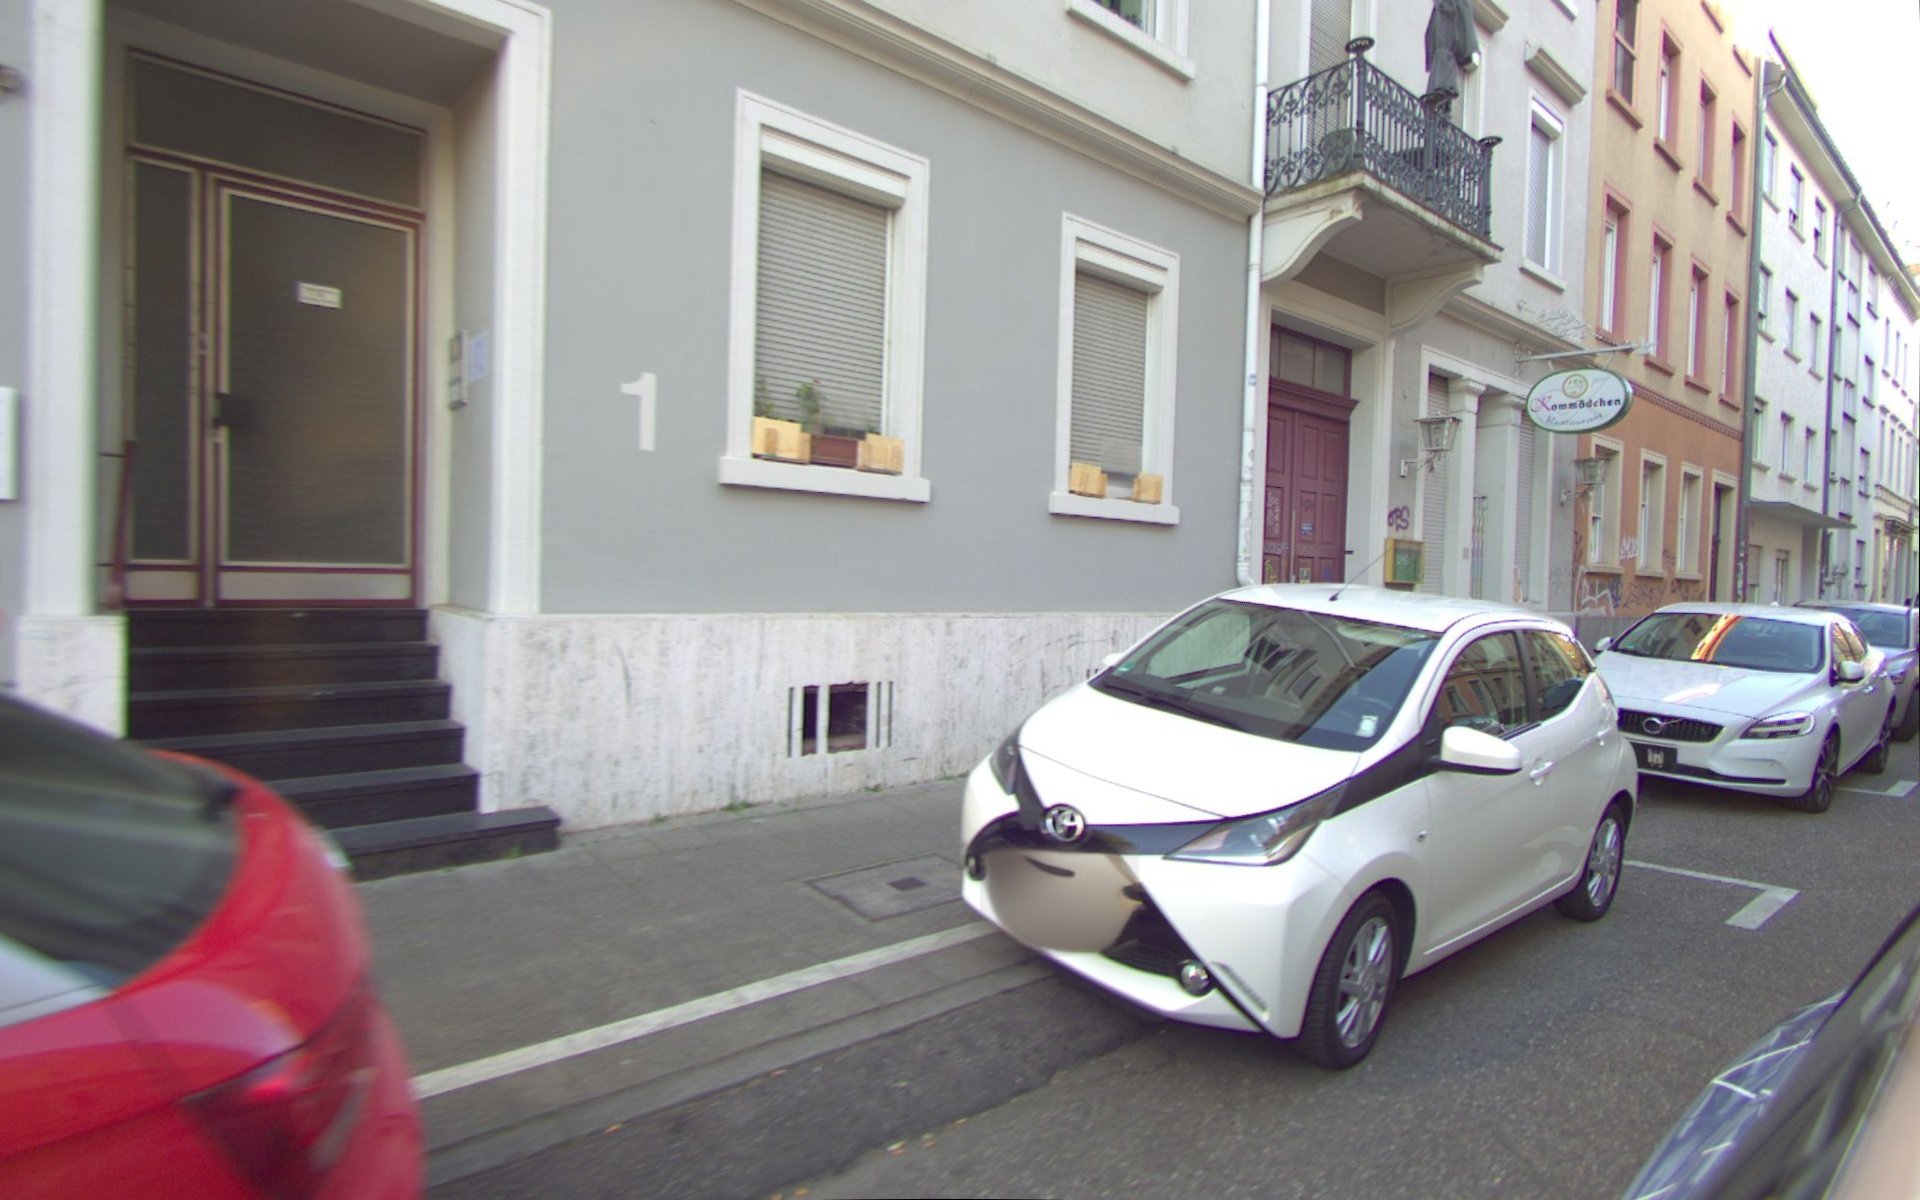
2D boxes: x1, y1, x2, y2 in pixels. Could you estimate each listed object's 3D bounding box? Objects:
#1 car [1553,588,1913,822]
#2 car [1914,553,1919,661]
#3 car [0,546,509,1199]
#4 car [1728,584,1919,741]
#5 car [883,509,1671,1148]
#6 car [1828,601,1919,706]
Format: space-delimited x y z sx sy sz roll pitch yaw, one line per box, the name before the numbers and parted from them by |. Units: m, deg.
car | 6.711 0.680 8.611 4.117 1.529 1.682 0 0 -41
car | 25.428 0.176 24.876 5.913 2.544 2.050 0 0 -38
car | -2.574 0.698 0.626 3.887 1.522 1.647 0 0 -42
car | 11.024 0.639 12.344 4.114 1.617 1.683 0 0 -38
car | 1.634 0.568 4.417 3.723 1.607 1.638 0 0 -42
car | 14.625 0.738 15.255 4.416 1.412 1.770 0 0 -41
